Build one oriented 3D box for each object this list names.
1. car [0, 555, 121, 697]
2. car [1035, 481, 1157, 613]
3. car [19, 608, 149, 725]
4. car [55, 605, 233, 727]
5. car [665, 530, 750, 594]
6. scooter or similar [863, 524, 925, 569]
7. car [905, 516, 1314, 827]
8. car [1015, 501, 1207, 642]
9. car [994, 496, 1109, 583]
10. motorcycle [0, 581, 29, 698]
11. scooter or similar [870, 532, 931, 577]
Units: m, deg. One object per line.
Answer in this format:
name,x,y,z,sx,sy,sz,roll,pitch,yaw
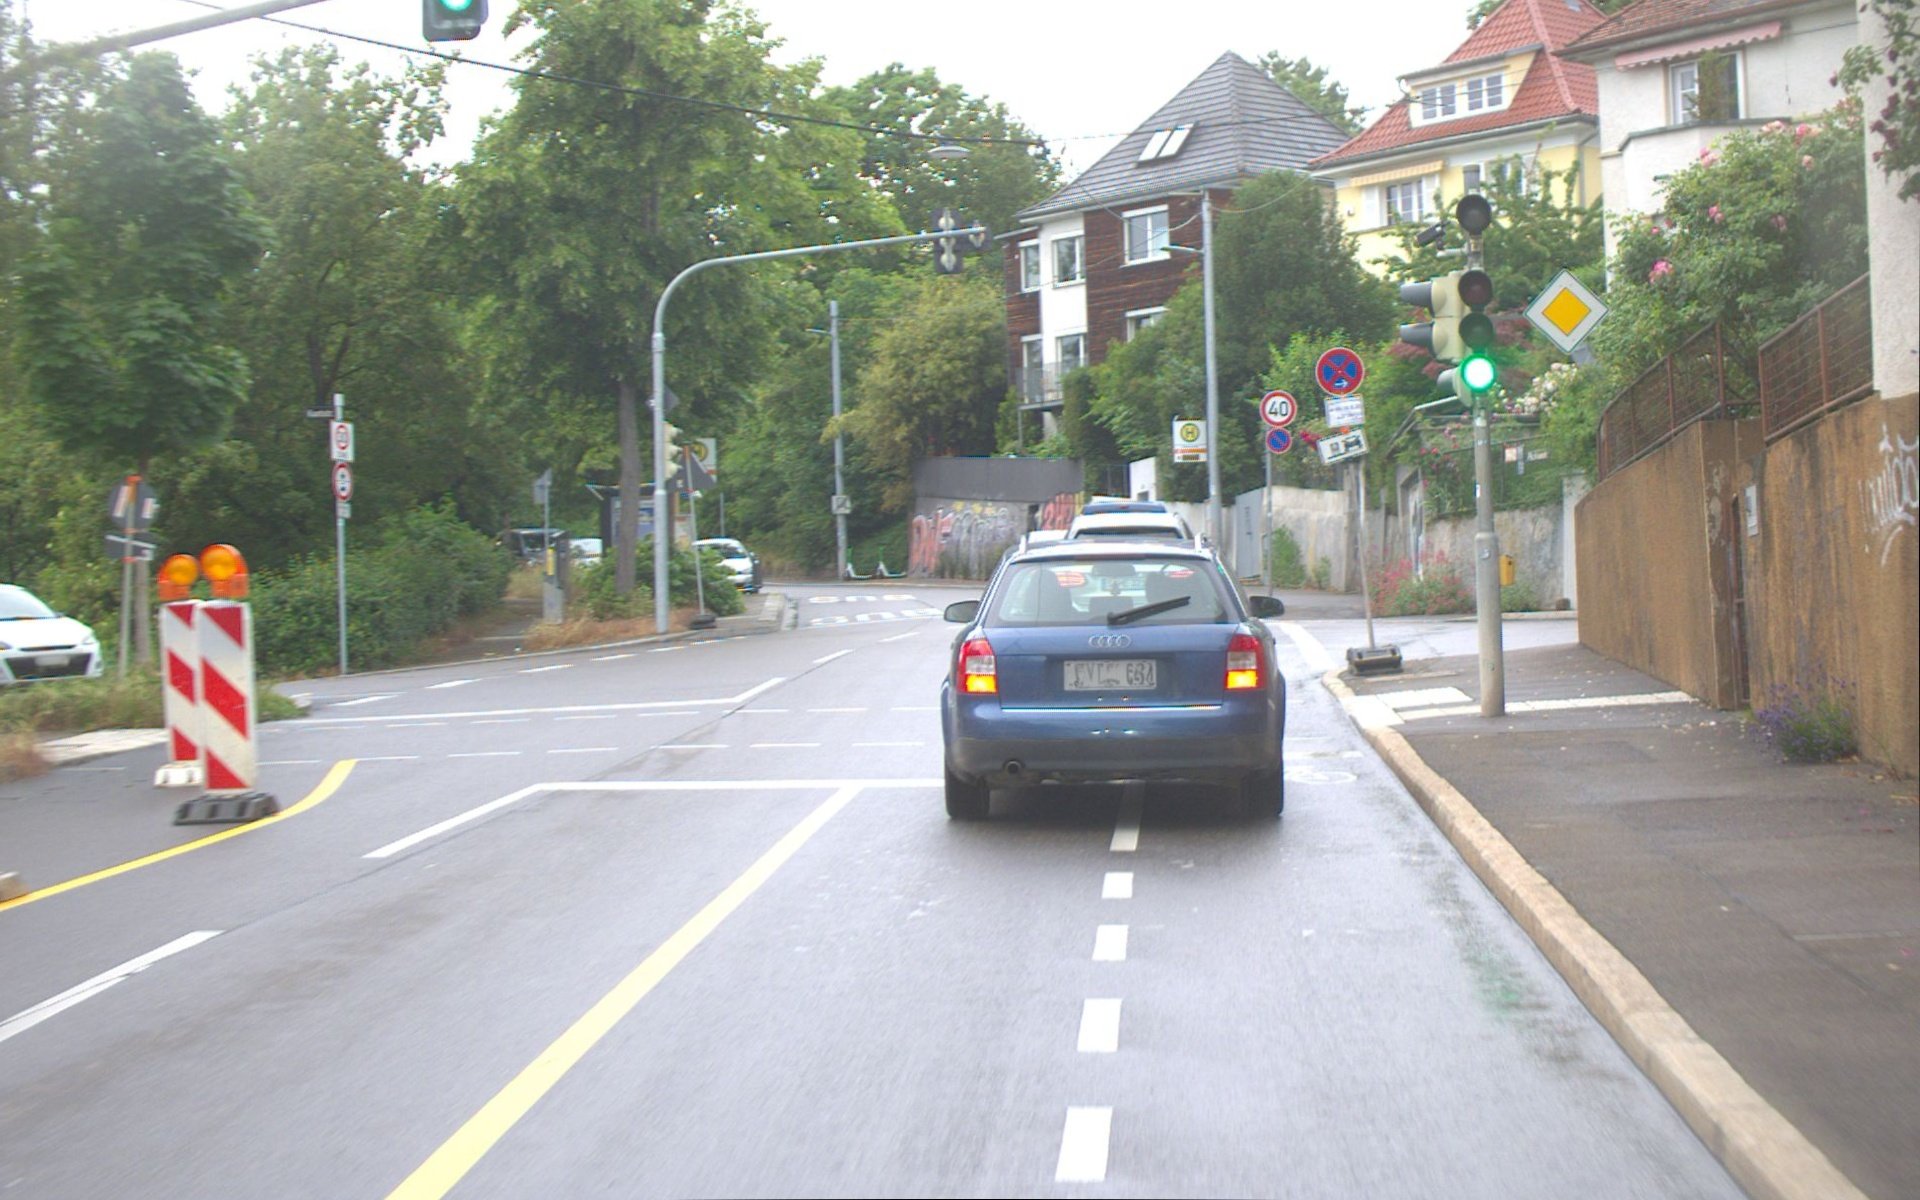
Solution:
car,-11.577,0.390,40.418,1.684,1.503,4.010,-5,0,-39
car,2.119,-0.845,53.308,1.730,1.888,4.055,-3,1,3
car,-15.873,1.165,62.187,1.747,2.007,4.001,0,0,-22
car,-13.665,1.065,57.424,1.841,1.743,4.001,-3,3,-28
car,-6.133,-0.932,83.184,1.673,1.422,4.001,-3,1,-9
scooter or similar,-2.088,-1.684,108.330,1.833,1.310,0.600,3,-2,-8
car,0.917,0.301,18.514,1.778,1.434,3.999,0,2,8
car,1.656,-0.294,36.763,1.909,1.384,4.350,1,0,4
car,1.746,-1.187,66.892,1.766,1.564,4.031,-3,1,-4
motorcycle,-9.734,0.406,33.762,0.590,1.127,1.843,-3,1,1
scooter or similar,-1.893,-1.437,109.396,1.833,1.310,0.600,3,-2,-8
